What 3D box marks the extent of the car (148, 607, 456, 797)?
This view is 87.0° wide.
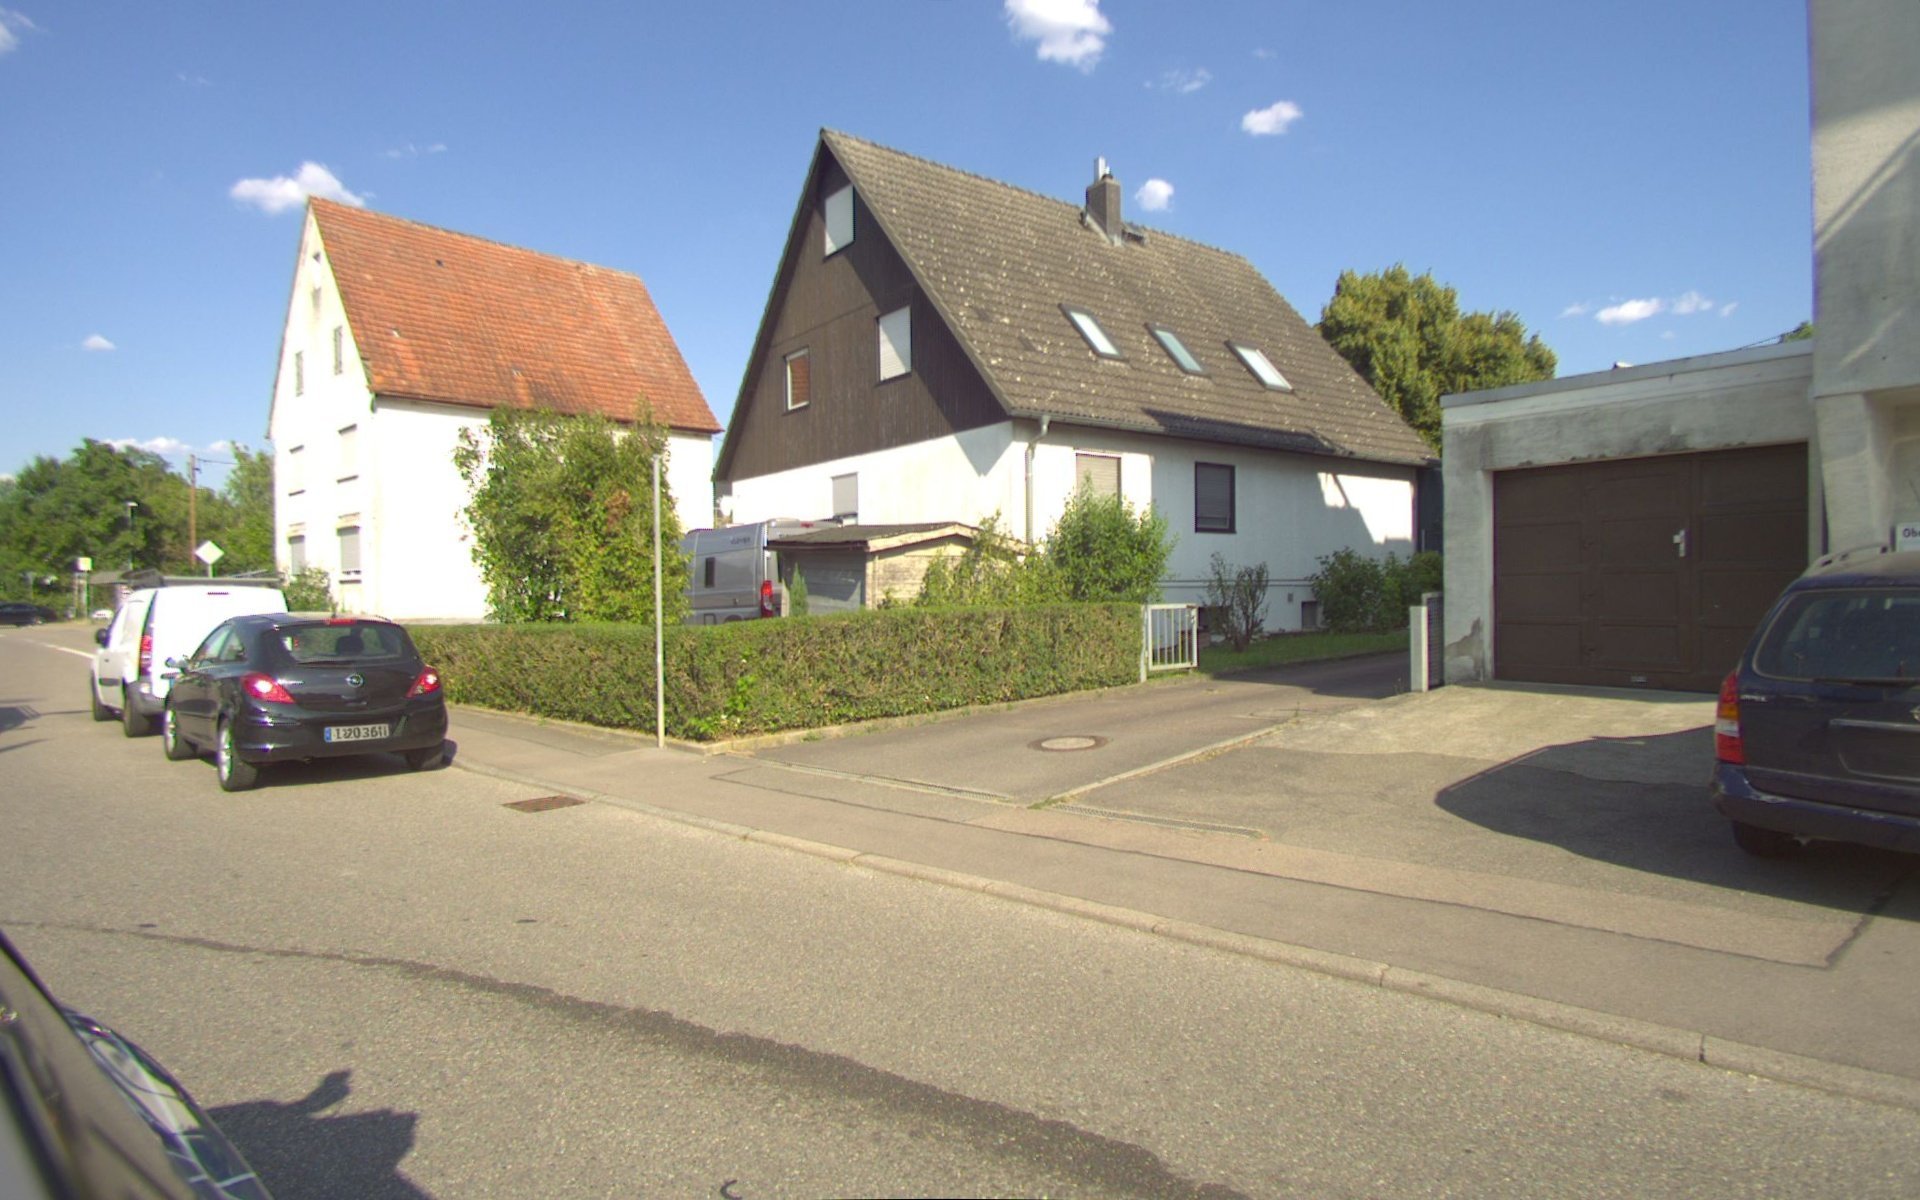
[{"bbox_3d":[-6.460,0.813,9.766,3.835,1.462,1.654,-1,-1,44],"label":"car"}]

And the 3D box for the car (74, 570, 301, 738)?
[{"bbox_3d":[-10.342,0.636,13.440,4.192,1.887,1.698,-1,-1,43],"label":"car"}]

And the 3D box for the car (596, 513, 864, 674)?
[{"bbox_3d":[-4.603,-0.109,19.391,2.133,2.615,6.099,-2,1,-43],"label":"car"}]

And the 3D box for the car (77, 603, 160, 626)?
[{"bbox_3d":[-56.001,0.943,67.440,1.837,1.503,4.272,0,0,3],"label":"car"}]

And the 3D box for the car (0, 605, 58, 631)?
[{"bbox_3d":[-55.342,1.047,58.278,1.758,1.442,4.813,0,0,20],"label":"car"}]

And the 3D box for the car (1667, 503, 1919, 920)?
[{"bbox_3d":[5.330,0.302,5.072,3.937,1.549,1.766,-7,3,-37],"label":"car"}]
